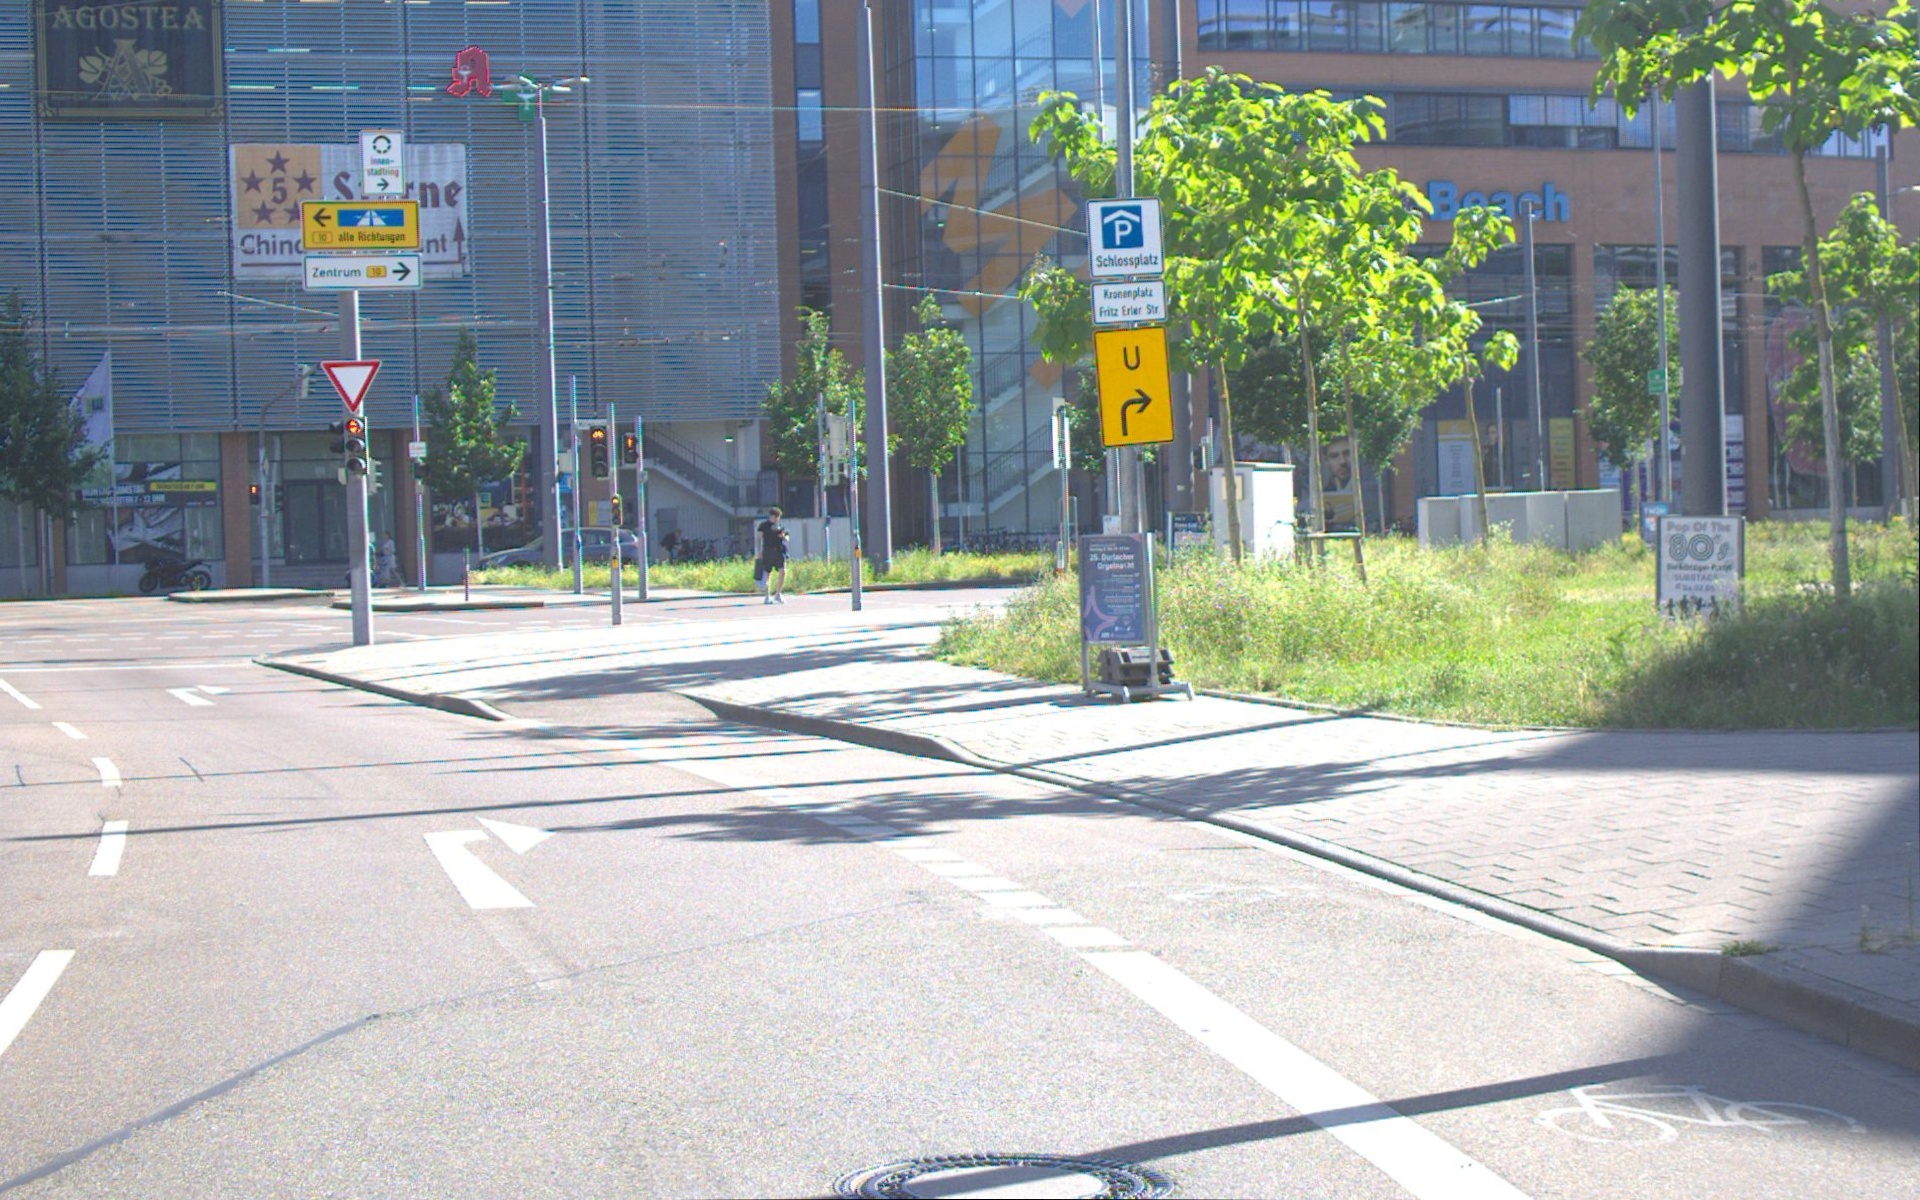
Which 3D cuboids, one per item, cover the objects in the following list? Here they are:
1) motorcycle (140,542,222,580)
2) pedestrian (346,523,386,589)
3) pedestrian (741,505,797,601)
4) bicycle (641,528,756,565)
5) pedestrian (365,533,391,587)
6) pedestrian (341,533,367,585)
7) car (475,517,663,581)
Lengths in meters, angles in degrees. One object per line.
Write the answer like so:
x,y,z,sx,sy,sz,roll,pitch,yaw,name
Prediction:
-22.436,-1.132,98.945,2.202,1.039,1.062,-1,2,-18,motorcycle
-15.933,-1.185,92.199,0.853,1.732,0.754,-2,1,-24,pedestrian
-3.462,-0.854,62.385,0.806,1.703,0.762,-2,1,-19,pedestrian
-7.937,-1.640,104.207,3.359,1.073,1.117,-1,2,-12,bicycle
-16.573,-1.149,97.948,0.589,1.529,0.658,-2,1,-19,pedestrian
-17.221,-1.162,97.670,0.589,1.457,0.658,-2,1,-19,pedestrian
-9.927,-1.301,87.220,4.486,1.489,1.495,-2,1,-18,car
